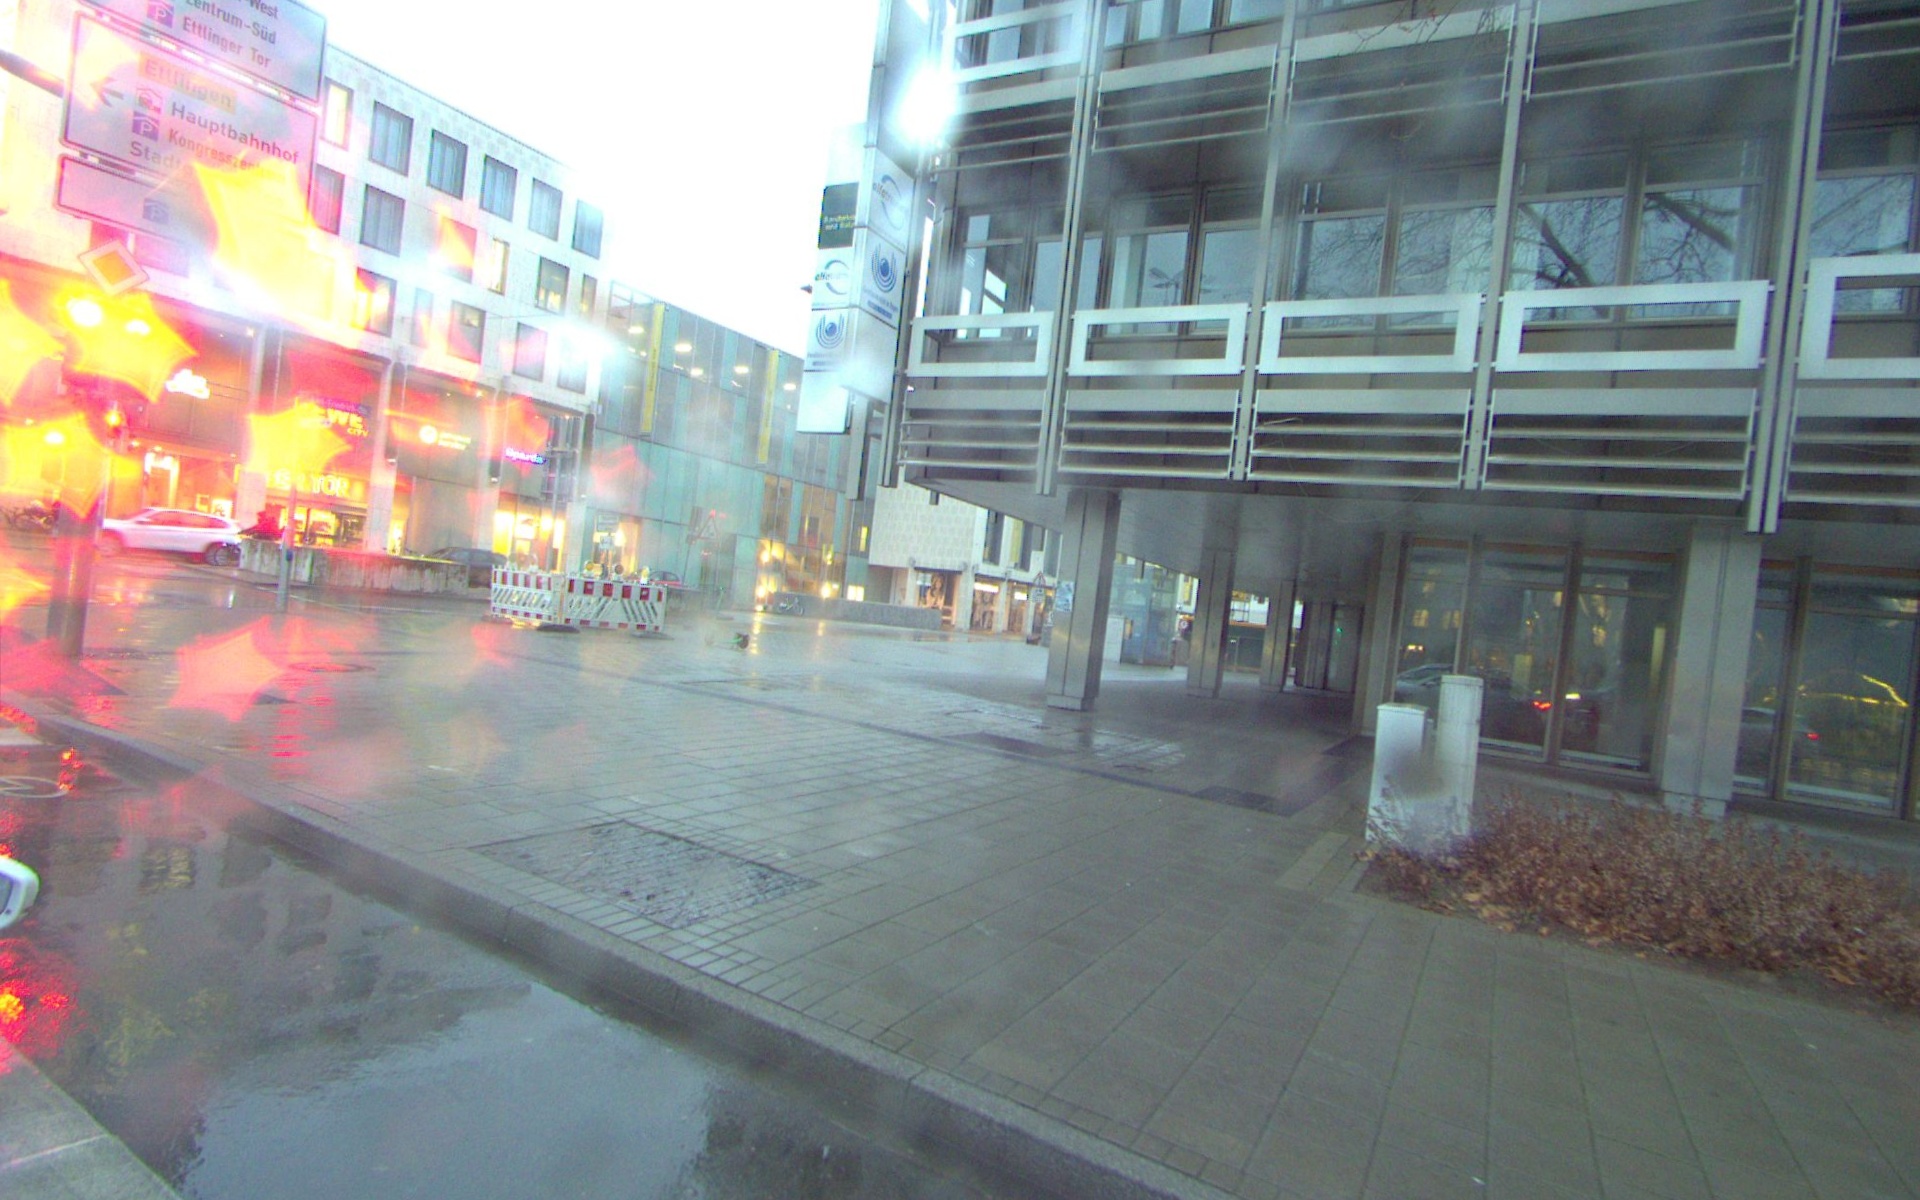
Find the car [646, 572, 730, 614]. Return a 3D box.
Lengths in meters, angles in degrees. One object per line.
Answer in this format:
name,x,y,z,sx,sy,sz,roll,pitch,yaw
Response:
car,-12.616,-0.296,46.789,1.648,1.601,3.575,6,-1,29

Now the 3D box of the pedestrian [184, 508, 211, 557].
pedestrian,-27.701,-2.443,36.552,0.529,1.706,0.546,6,1,-21

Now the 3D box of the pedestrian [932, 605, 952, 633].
pedestrian,-1.429,1.473,78.259,1.006,2.037,0.906,6,-1,31

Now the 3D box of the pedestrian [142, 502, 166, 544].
pedestrian,-35.332,-3.359,44.098,0.529,1.739,0.500,6,1,-21

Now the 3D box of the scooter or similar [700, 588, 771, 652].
scooter or similar,-4.541,0.401,20.317,1.215,1.144,0.606,7,0,32

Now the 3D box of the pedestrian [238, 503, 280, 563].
pedestrian,-20.297,-1.929,29.128,0.778,1.615,0.605,6,1,-43

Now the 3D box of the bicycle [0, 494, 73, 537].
bicycle,-35.999,-3.279,38.887,0.623,1.345,2.431,7,0,26

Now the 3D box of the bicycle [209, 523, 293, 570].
bicycle,-20.452,-1.525,29.051,1.839,1.107,0.610,7,0,-44

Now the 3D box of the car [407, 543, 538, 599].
car,-17.925,-1.040,37.171,1.648,1.601,4.056,6,-1,29

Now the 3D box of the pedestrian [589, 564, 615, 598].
pedestrian,-18.457,-0.976,51.855,0.697,1.650,0.795,6,-1,31

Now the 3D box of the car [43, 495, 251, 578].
car,-23.471,-1.793,29.198,1.680,1.783,4.305,7,0,34

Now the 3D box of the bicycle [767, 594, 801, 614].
bicycle,-10.846,0.248,61.964,2.101,1.046,0.616,6,0,33
